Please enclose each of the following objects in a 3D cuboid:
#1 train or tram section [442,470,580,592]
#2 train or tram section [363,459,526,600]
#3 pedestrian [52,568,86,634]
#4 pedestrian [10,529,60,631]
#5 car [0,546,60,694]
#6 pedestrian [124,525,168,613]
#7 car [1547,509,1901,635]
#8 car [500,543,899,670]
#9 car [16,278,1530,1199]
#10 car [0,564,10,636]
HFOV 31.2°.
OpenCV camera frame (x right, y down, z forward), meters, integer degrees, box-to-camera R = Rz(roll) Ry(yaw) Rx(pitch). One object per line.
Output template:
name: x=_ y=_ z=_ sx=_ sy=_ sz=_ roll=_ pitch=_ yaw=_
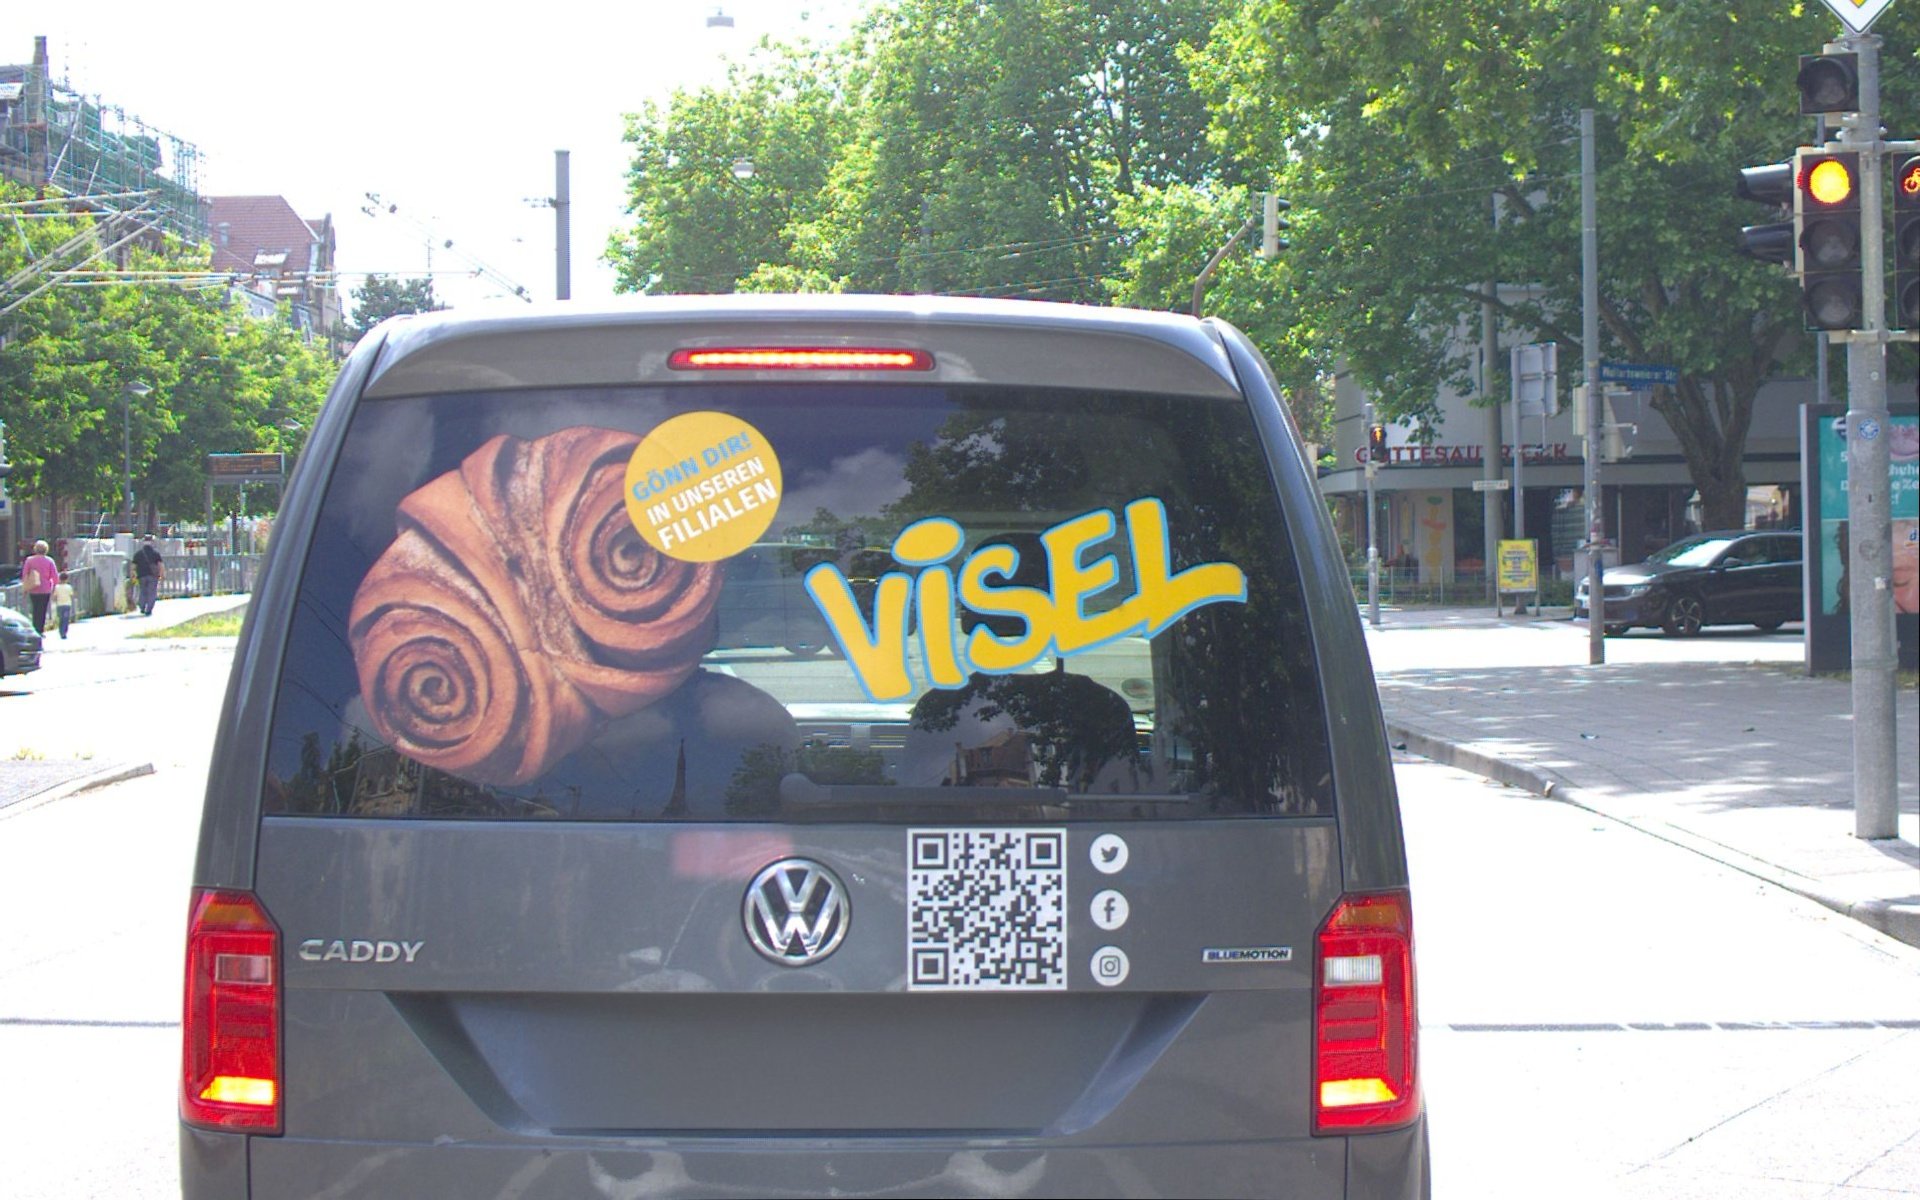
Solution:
train or tram section: x=-13.140 y=-2.039 z=101.785 sx=2.240 sy=3.320 sz=14.014 roll=-1 pitch=1 yaw=0
train or tram section: x=-13.089 y=-1.812 z=88.346 sx=2.240 sy=3.320 sz=12.972 roll=-1 pitch=1 yaw=0
pedestrian: x=-15.611 y=0.015 z=60.261 sx=0.463 sy=1.140 sz=0.435 roll=-1 pitch=1 yaw=0
pedestrian: x=-16.234 y=-0.359 z=60.324 sx=0.659 sy=1.778 sz=0.660 roll=-1 pitch=1 yaw=0
car: x=-11.278 y=0.240 z=33.612 sx=4.554 sy=1.431 sz=1.707 roll=-2 pitch=1 yaw=-24
pedestrian: x=-15.712 y=-0.599 z=66.373 sx=0.659 sy=1.679 sz=0.655 roll=-1 pitch=1 yaw=0
car: x=10.490 y=-0.409 z=47.194 sx=4.479 sy=1.596 sz=1.864 roll=-2 pitch=1 yaw=-23
car: x=-3.145 y=0.053 z=41.621 sx=4.480 sy=1.385 sz=1.707 roll=-2 pitch=1 yaw=-24
car: x=-0.229 y=0.499 z=5.733 sx=1.750 sy=1.802 sz=3.475 roll=0 pitch=1 yaw=0
car: x=-27.784 y=0.044 z=94.862 sx=1.993 sy=2.007 sz=4.000 roll=-1 pitch=1 yaw=0
